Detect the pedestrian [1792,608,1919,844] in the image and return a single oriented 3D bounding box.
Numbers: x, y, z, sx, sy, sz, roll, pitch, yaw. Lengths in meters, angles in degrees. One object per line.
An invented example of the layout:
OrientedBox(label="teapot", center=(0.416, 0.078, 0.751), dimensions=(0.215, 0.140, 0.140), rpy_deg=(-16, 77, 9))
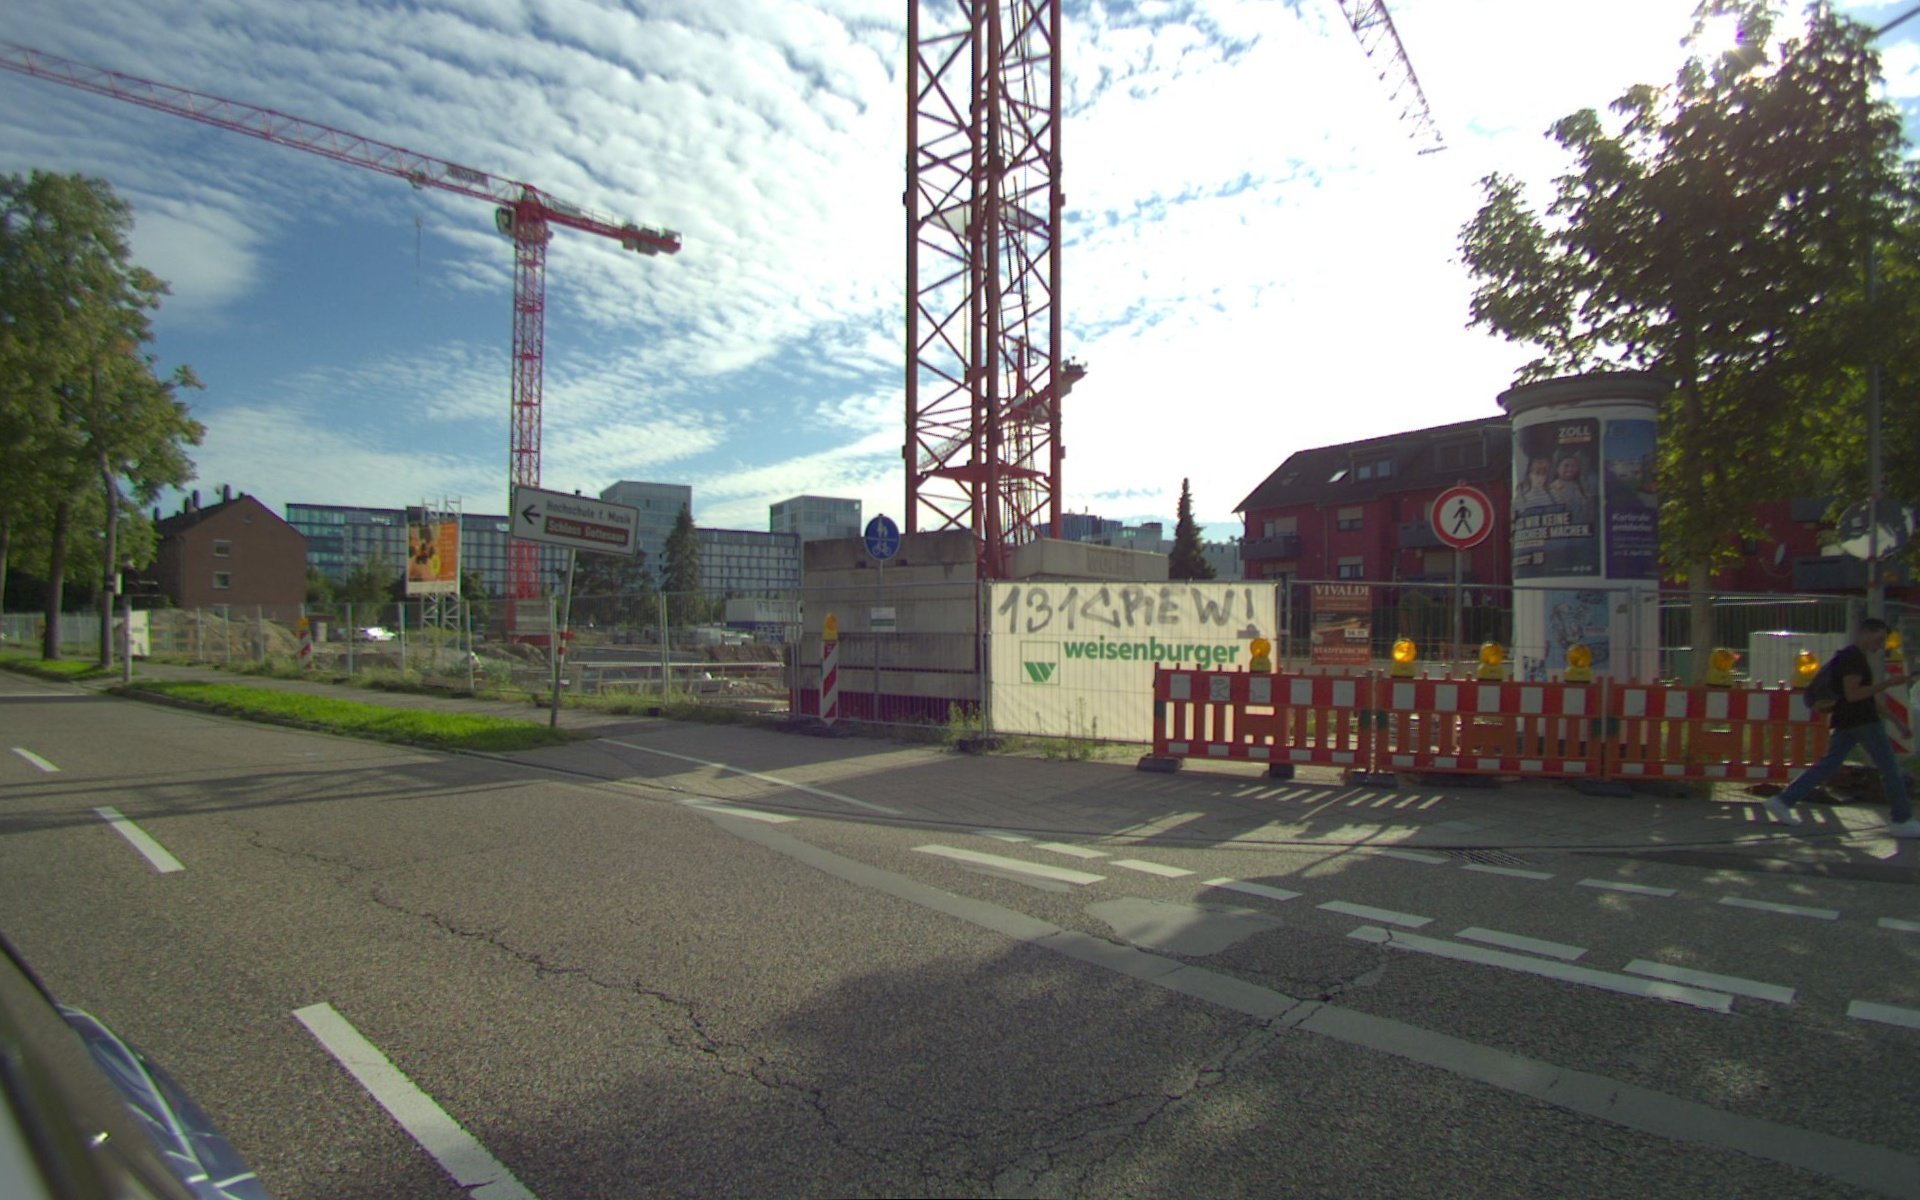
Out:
OrientedBox(label="pedestrian", center=(7.388, 0.948, 7.911), dimensions=(1.173, 1.741, 1.000), rpy_deg=(0, -2, 28))

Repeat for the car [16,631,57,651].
OrientedBox(label="car", center=(-73.353, 3.274, 80.372), dimensions=(4.507, 1.439, 1.972), rpy_deg=(0, -3, 42))
